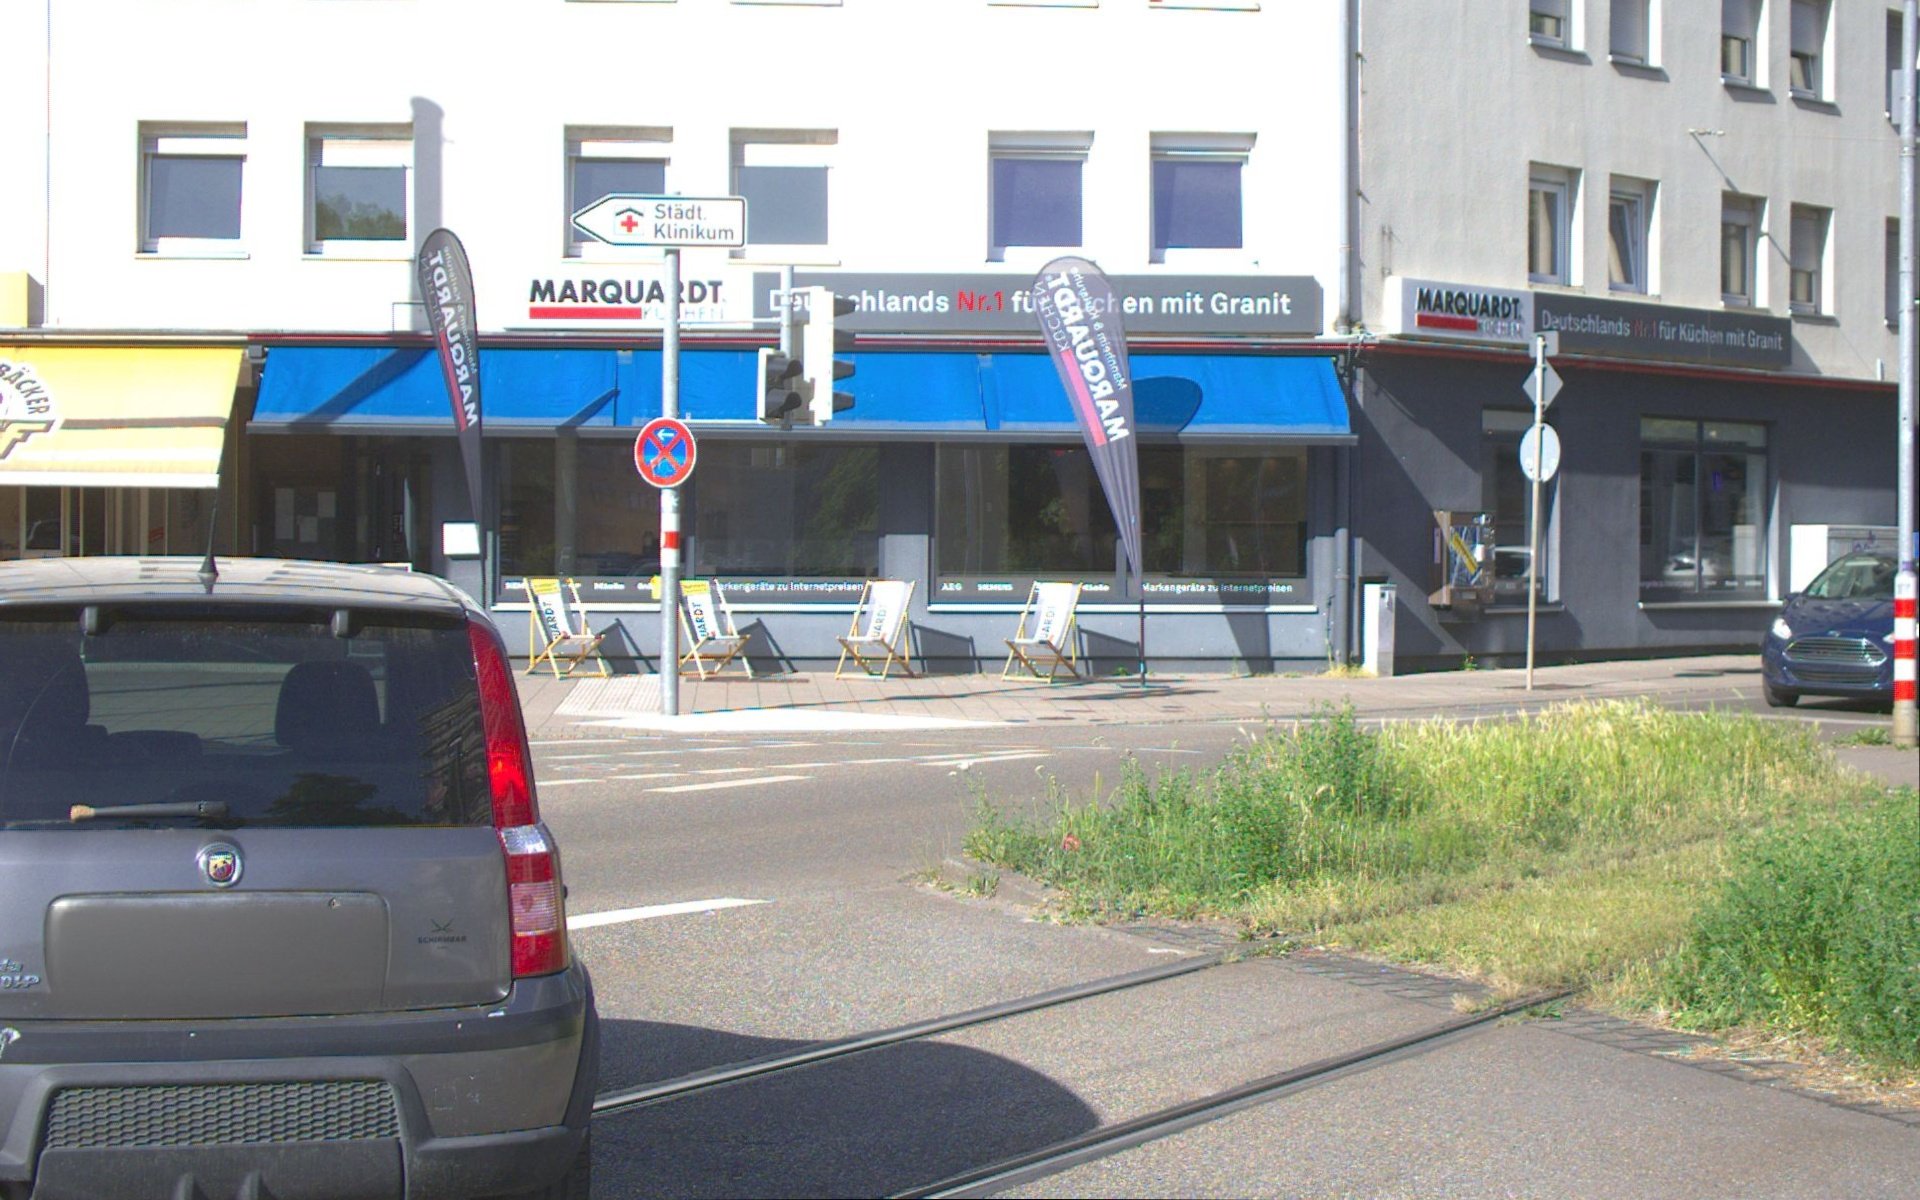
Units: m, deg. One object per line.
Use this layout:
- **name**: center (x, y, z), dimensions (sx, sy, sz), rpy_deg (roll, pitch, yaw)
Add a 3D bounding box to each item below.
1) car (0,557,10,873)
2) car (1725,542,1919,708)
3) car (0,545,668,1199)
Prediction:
- **car**: center (-6.004, 0.487, 16.603), dimensions (1.621, 1.424, 3.688), rpy_deg (0, 1, -34)
- **car**: center (8.493, 0.187, 31.151), dimensions (1.794, 1.391, 3.718), rpy_deg (1, 1, 34)
- **car**: center (-1.864, 0.632, 8.141), dimensions (1.659, 1.505, 3.252), rpy_deg (0, 1, -17)
